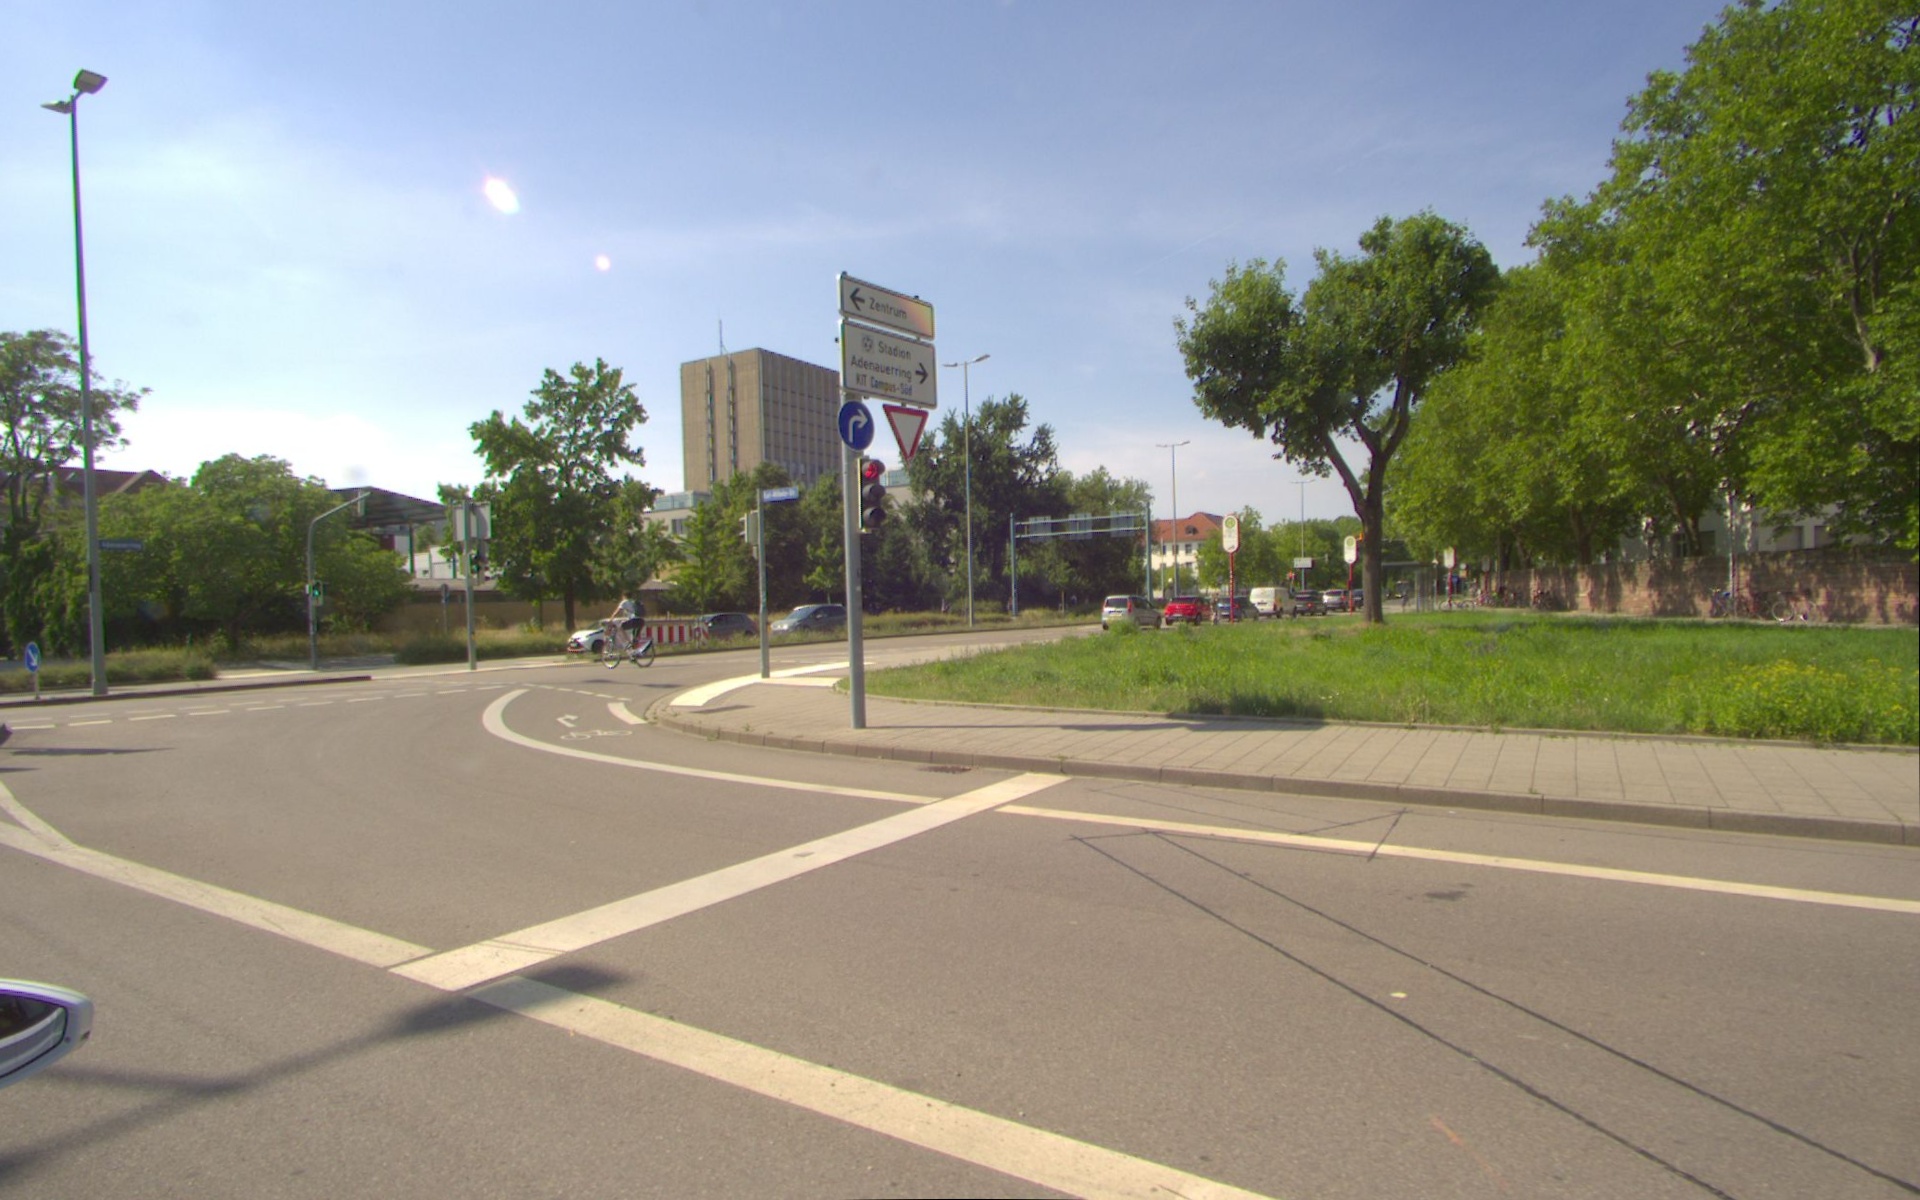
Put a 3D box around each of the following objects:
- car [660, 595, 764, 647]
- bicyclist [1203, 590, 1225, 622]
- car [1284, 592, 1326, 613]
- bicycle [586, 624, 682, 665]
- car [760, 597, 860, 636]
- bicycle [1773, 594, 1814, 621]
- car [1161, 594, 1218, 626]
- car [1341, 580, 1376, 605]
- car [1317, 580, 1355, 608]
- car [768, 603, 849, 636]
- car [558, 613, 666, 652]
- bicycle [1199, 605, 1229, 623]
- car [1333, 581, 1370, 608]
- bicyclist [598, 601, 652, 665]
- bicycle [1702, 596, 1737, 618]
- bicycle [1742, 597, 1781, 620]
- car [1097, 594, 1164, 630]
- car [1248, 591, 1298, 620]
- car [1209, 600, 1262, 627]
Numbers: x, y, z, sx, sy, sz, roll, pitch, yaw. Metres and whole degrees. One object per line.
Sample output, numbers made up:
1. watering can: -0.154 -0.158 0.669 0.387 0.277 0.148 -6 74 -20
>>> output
1. car: -10.645 0.892 43.187 1.976 2.040 3.971 -3 -1 37
2. bicyclist: 12.381 0.284 48.809 0.558 1.494 1.158 0 1 44
3. car: 24.129 0.177 69.938 1.729 1.357 3.973 -1 1 36
4. bicycle: -7.861 1.070 24.159 2.128 0.928 0.674 -1 1 10
5. car: -6.155 0.646 41.459 1.619 1.424 4.080 -3 -1 37
6. bicycle: 27.287 0.244 32.798 0.365 0.867 1.307 -1 1 7
7. car: 12.084 0.496 52.536 1.727 1.528 3.978 -1 1 32
8. car: 33.637 -0.639 84.474 1.973 2.040 3.976 -1 1 34
9. car: 29.074 -0.495 77.360 1.972 2.040 3.977 -1 1 32
10. car: -7.919 0.981 52.775 1.883 1.590 4.300 -1 1 32
11. car: -14.830 1.366 42.849 1.972 1.483 3.978 -2 0 32
12. bicycle: 12.374 0.683 48.794 0.554 0.803 1.878 1 2 44
13. car: 31.925 -0.459 81.664 1.973 2.040 3.976 -1 1 34
14. bicyclist: -8.085 0.801 24.149 1.121 1.489 0.496 -1 -1 10
15. bicycle: 27.399 0.250 36.124 0.334 0.738 1.364 -1 1 5
16. bicycle: 27.401 0.281 34.257 0.334 0.738 1.364 -1 1 5
17. car: 8.057 0.546 47.113 1.727 1.528 3.978 -1 1 32
18. car: 20.039 0.334 64.031 1.729 1.781 4.402 -1 1 36
19. car: 16.172 0.778 58.660 1.729 1.493 3.973 -1 1 36
